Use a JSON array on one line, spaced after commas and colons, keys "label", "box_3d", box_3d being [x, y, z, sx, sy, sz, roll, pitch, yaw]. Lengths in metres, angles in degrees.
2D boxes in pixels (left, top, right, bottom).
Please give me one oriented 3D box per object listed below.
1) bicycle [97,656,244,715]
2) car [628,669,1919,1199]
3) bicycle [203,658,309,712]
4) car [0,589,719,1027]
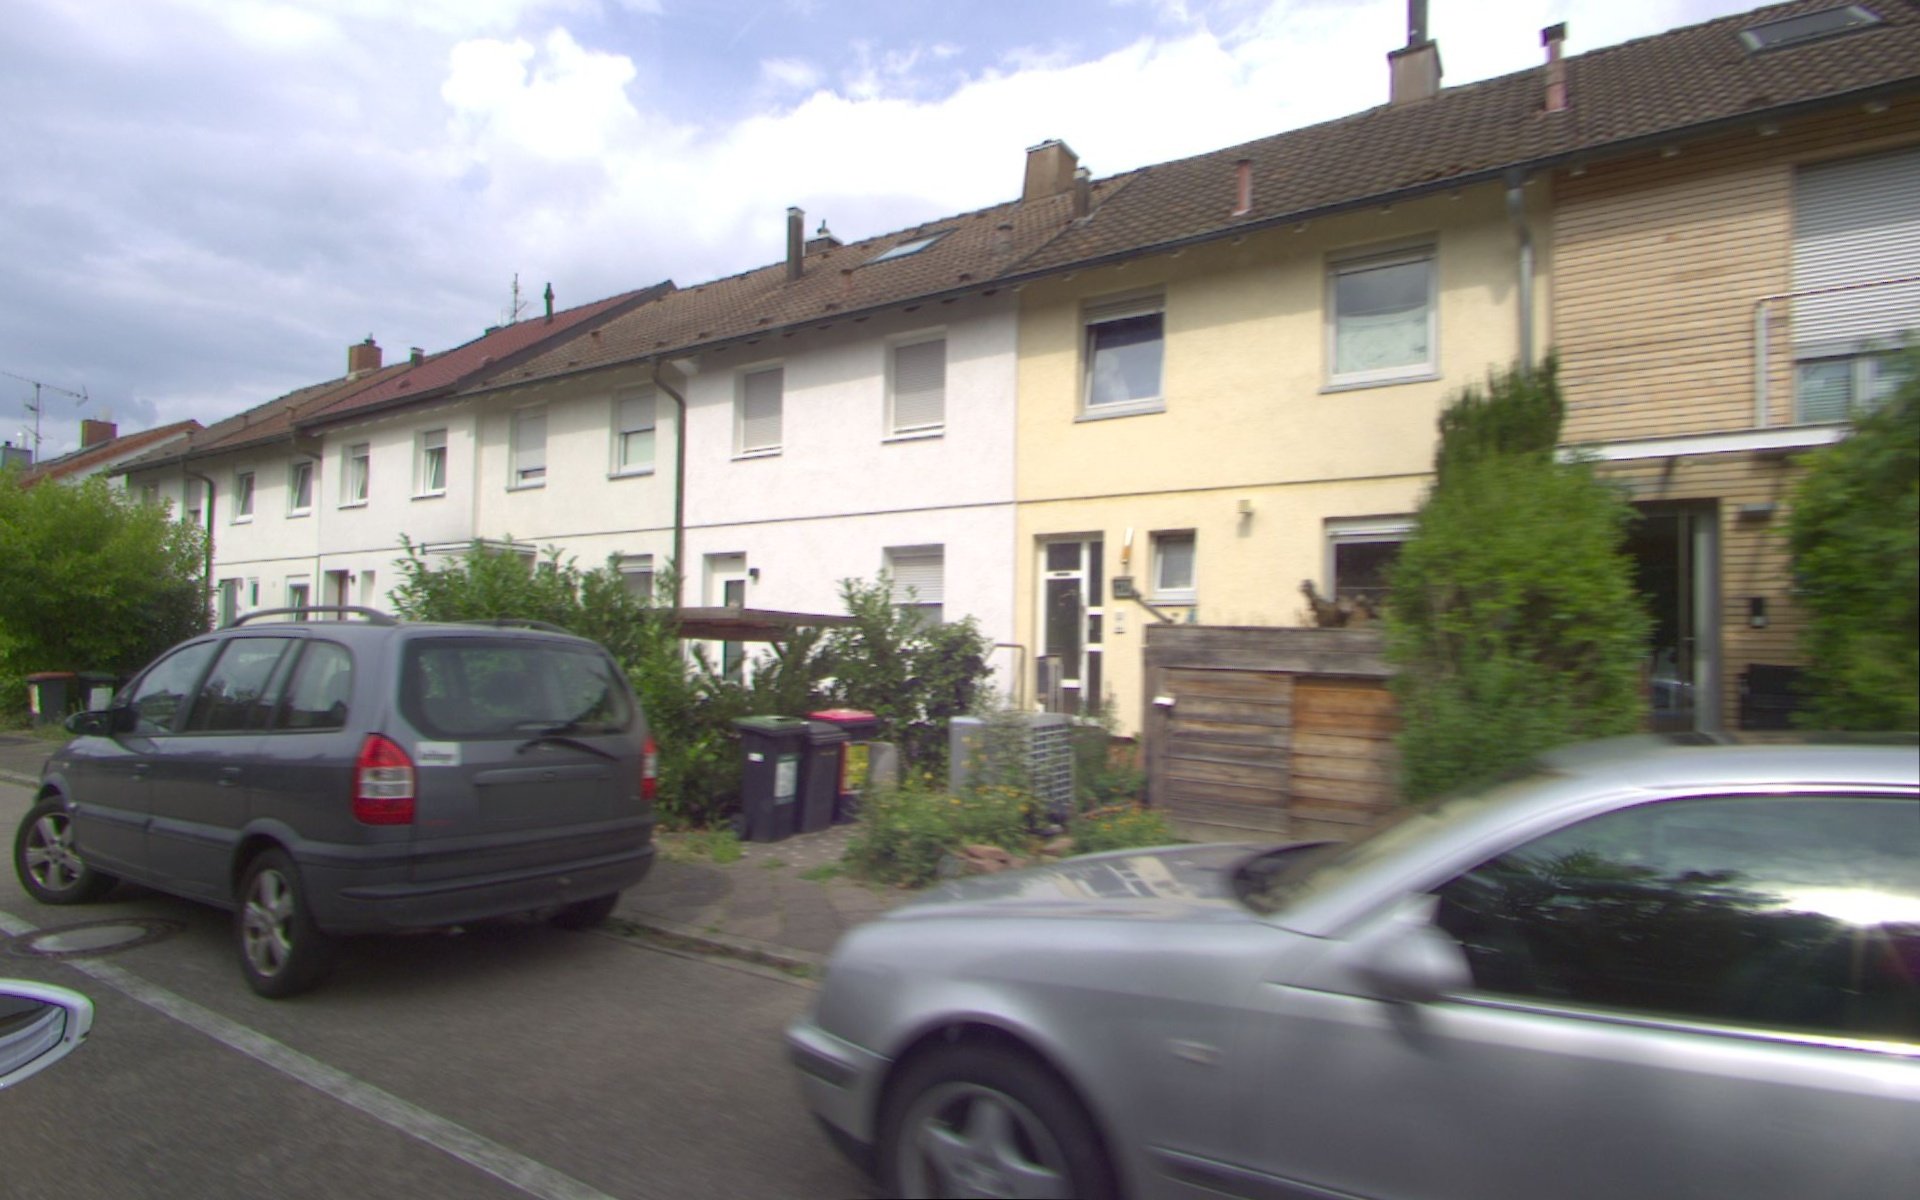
[{"label": "bicycle", "box_3d": [-13.367, 1.426, 17.012, 0.552, 0.919, 1.875, 0, -3, 30]}, {"label": "car", "box_3d": [1.619, 0.968, 2.308, 4.697, 1.424, 1.867, 0, -5, 31]}, {"label": "bicycle", "box_3d": [-12.601, 1.508, 17.985, 0.731, 0.876, 1.593, 1, -2, 2]}, {"label": "car", "box_3d": [-3.689, 0.860, 5.793, 4.398, 1.674, 1.866, 0, -3, 31]}]
